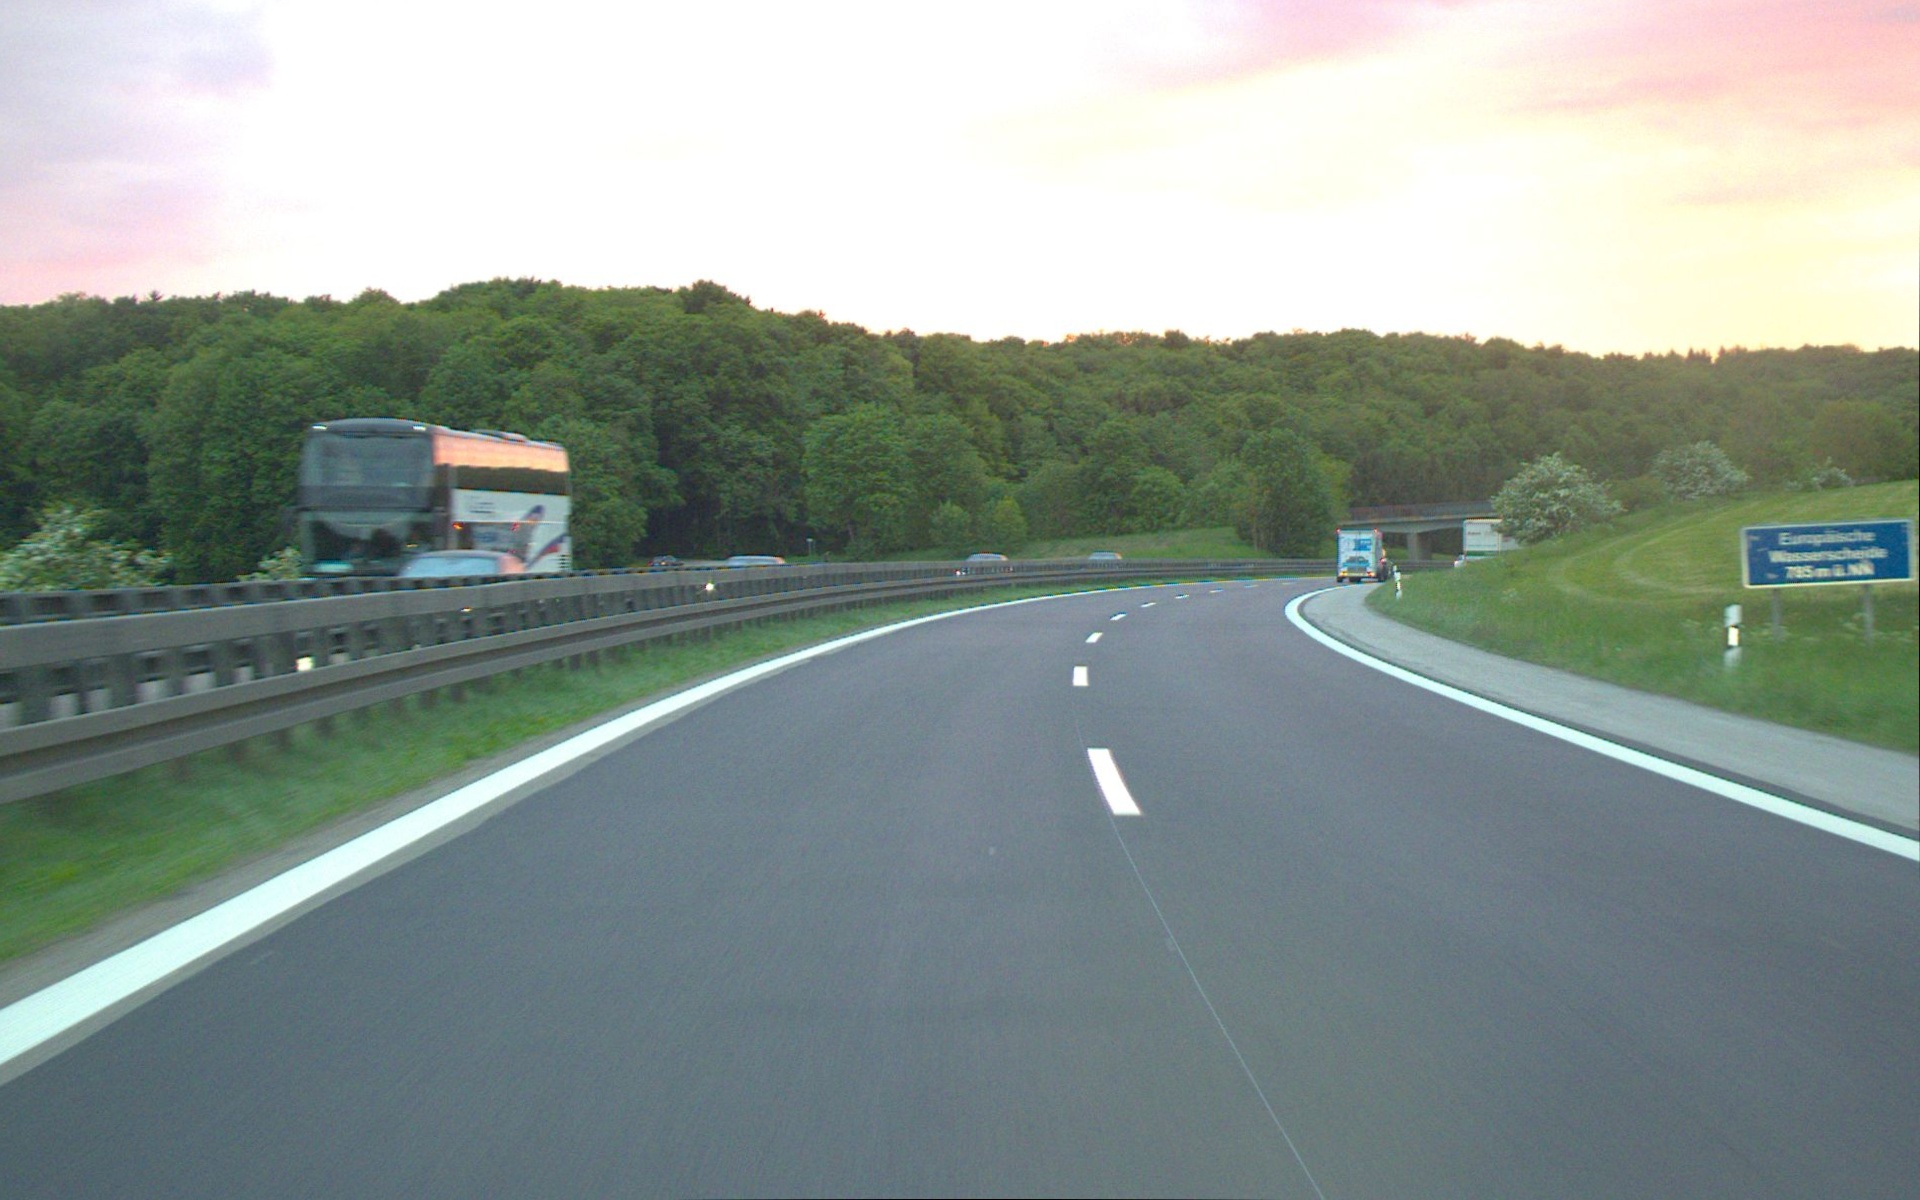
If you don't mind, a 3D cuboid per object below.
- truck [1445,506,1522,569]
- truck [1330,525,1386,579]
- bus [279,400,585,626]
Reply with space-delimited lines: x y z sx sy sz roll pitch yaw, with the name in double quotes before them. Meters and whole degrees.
"truck" 37.284 -4.388 244.587 3.960 4.272 14.313 0 0 14
"truck" 20.296 -2.456 175.201 2.277 2.656 5.233 -2 1 12
"bus" -10.397 -1.652 69.815 3.166 4.062 14.809 1 1 3
